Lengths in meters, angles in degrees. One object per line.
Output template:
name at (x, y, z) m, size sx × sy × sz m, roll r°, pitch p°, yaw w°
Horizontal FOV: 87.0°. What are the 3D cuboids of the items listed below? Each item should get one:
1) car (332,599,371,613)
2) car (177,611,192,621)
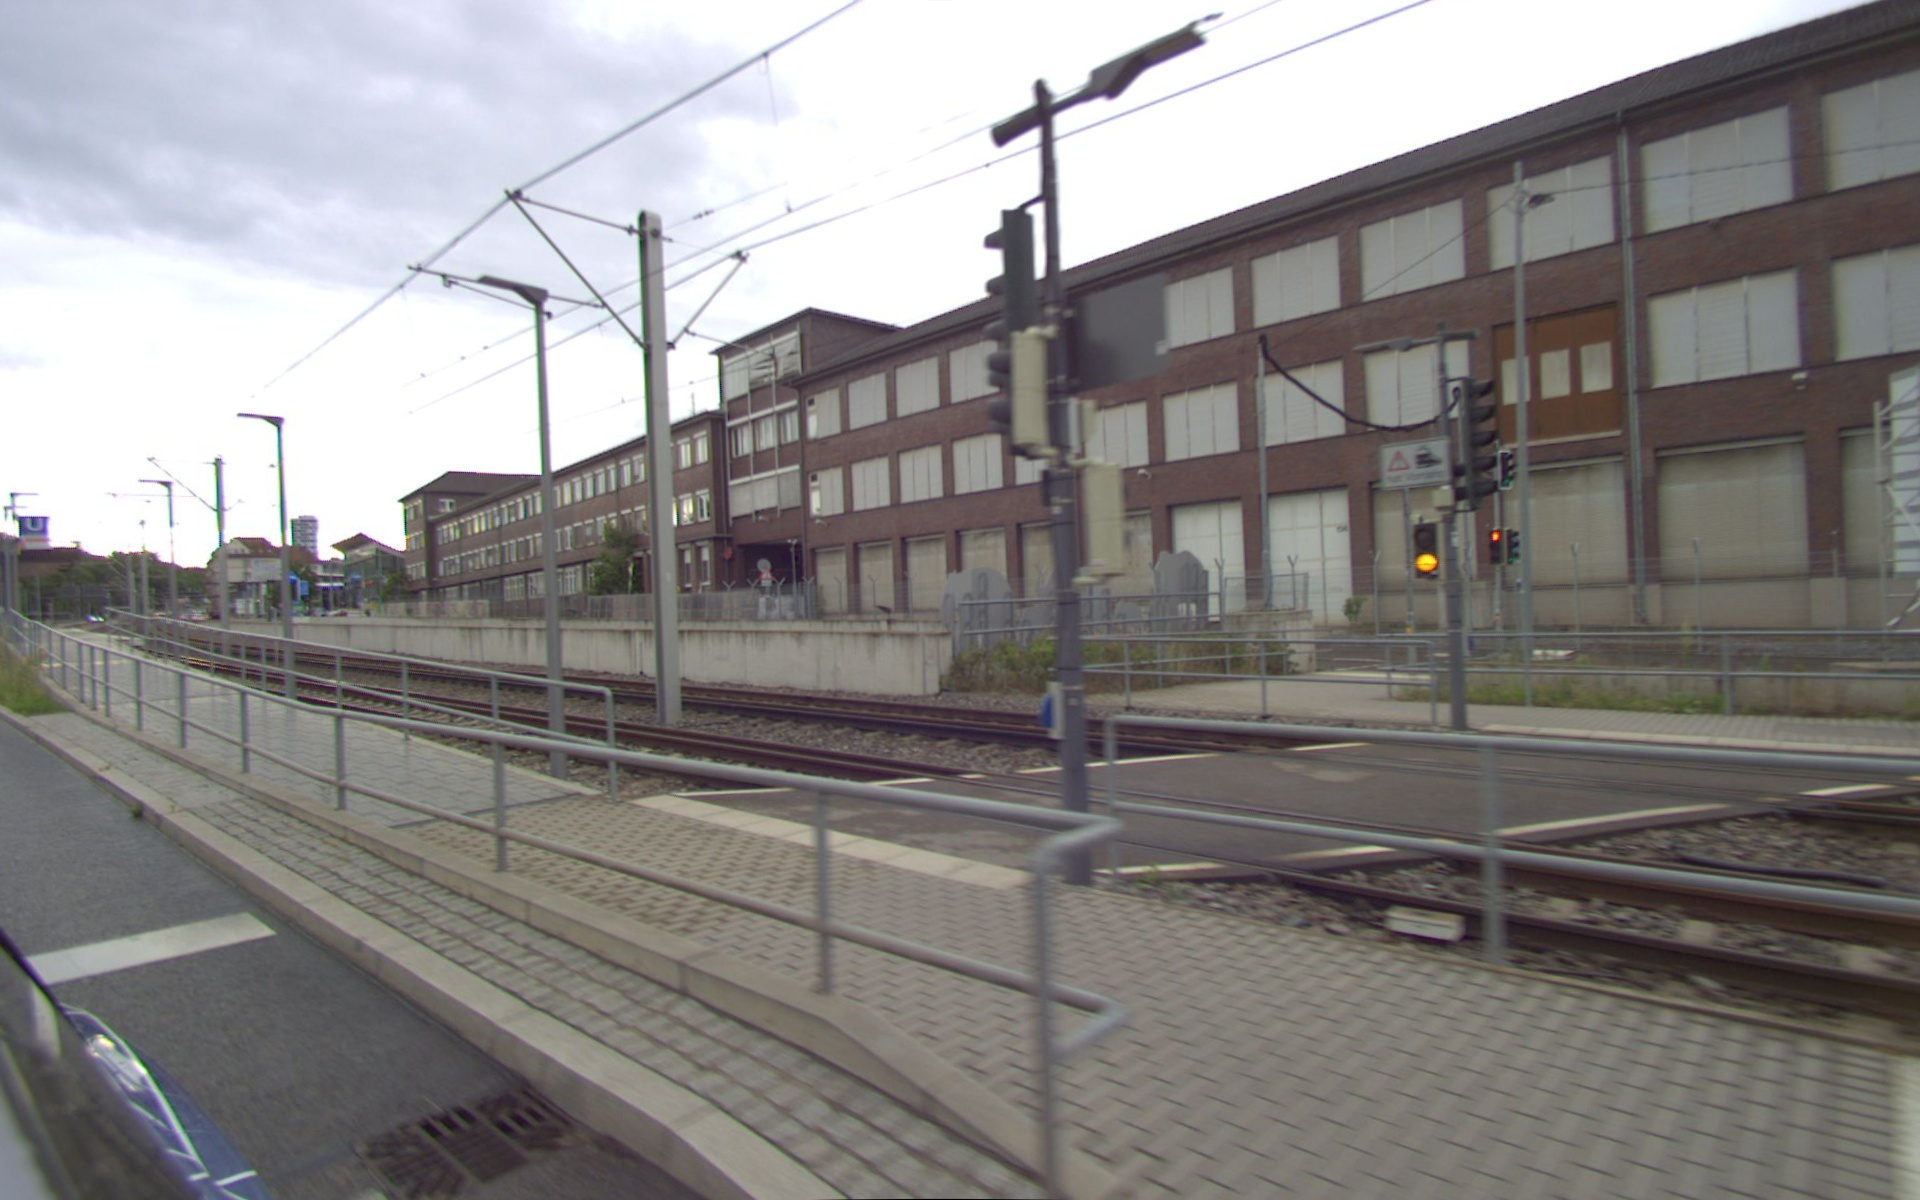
car at (-88.181, 0.869, 146.646) m, size 4.508 × 1.773 × 2.003 m, roll -1°, pitch 0°, yaw -40°
car at (-155.843, 3.278, 203.322) m, size 1.970 × 2.029 × 4.004 m, roll 0°, pitch -1°, yaw -43°
